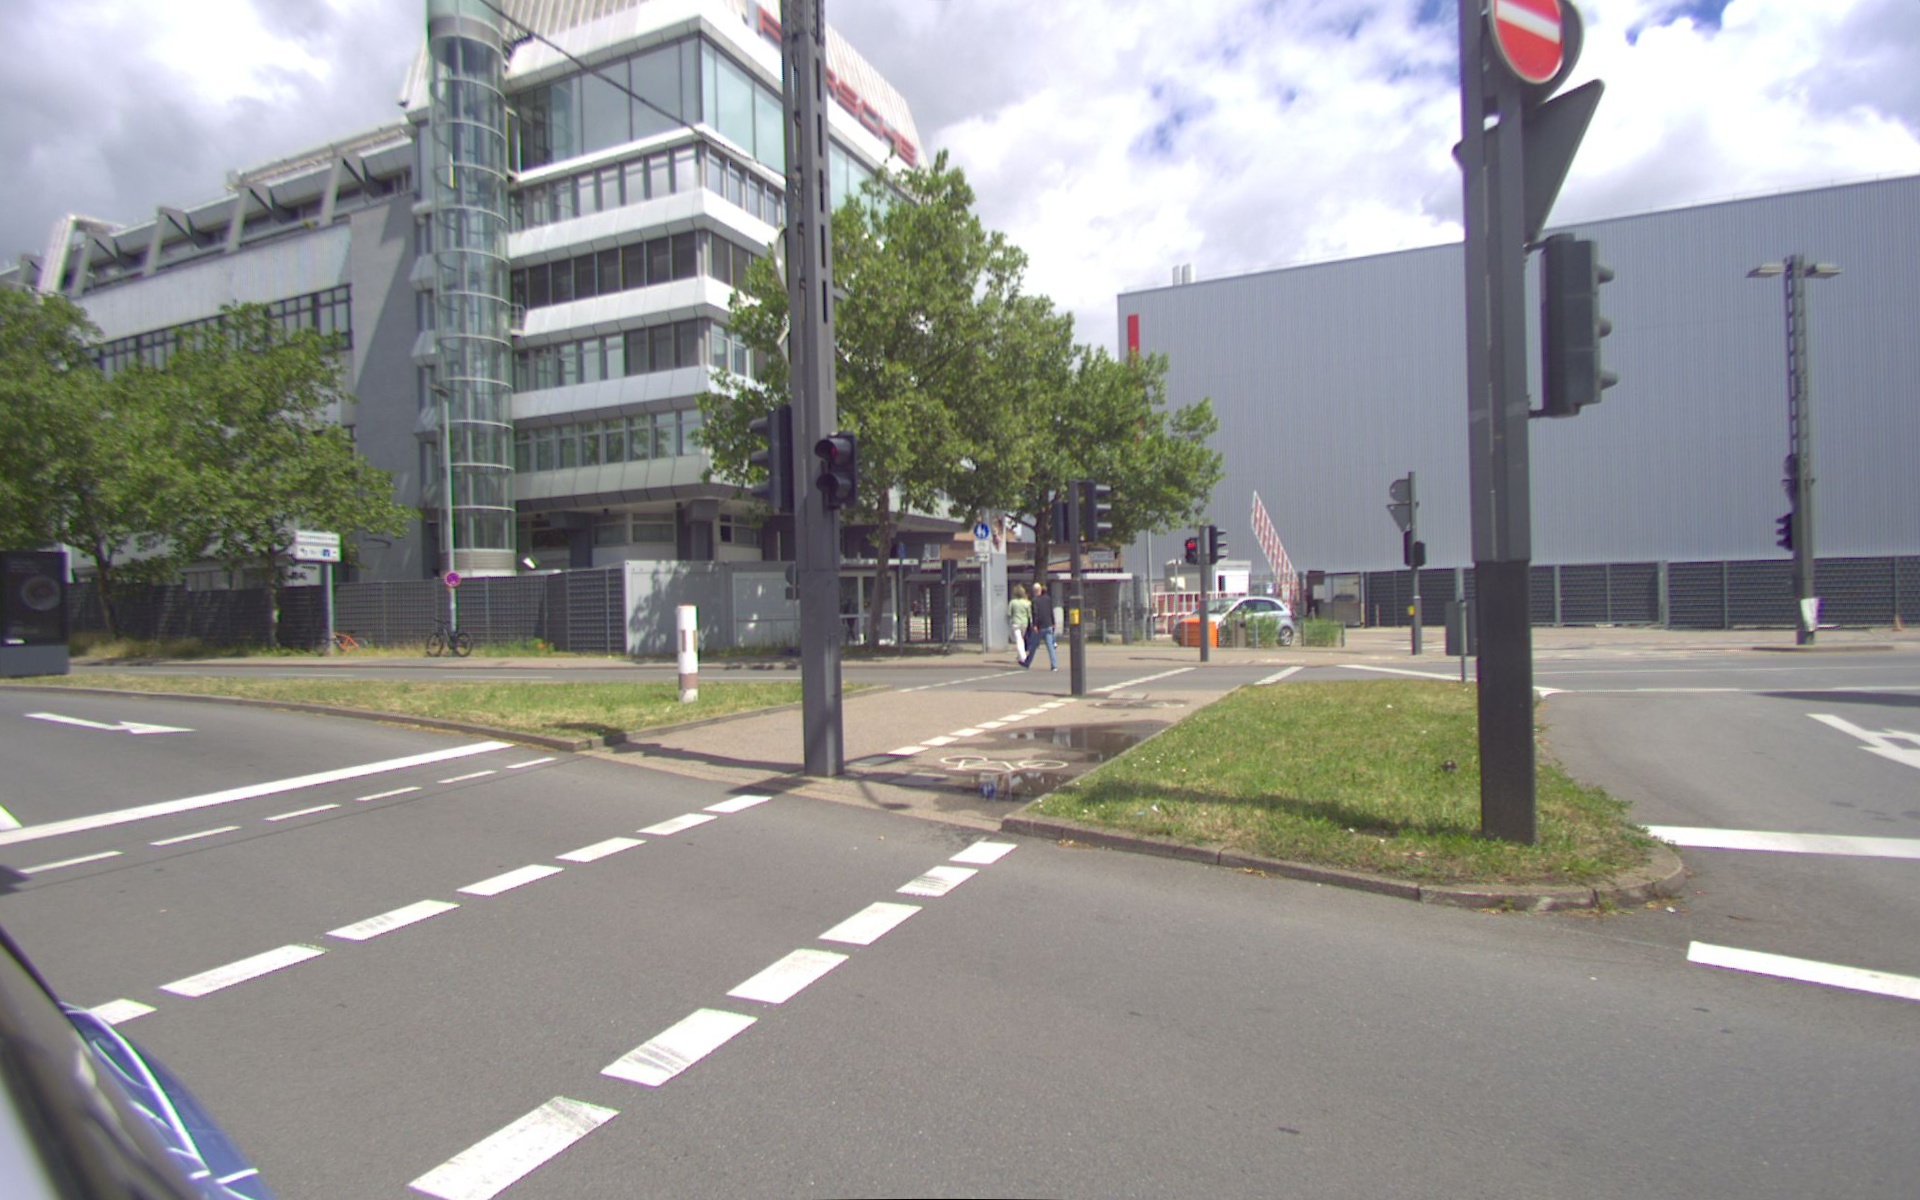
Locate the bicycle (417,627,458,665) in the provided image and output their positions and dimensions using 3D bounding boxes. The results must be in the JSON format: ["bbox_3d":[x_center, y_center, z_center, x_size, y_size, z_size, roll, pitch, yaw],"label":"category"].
[{"bbox_3d":[-15.898,1.390,30.800,1.477,1.140,0.294,0,1,28],"label":"bicycle"}]

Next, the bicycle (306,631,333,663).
[{"bbox_3d":[-21.493,1.560,33.956,1.249,1.013,0.294,0,1,35],"label":"bicycle"}]

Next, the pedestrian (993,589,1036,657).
[{"bbox_3d":[1.463,0.599,26.989,1.024,1.787,0.863,-1,1,11],"label":"pedestrian"}]

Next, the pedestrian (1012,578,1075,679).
[{"bbox_3d":[1.772,0.576,21.443,0.951,2.070,0.942,0,1,43],"label":"pedestrian"}]

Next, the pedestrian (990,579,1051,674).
[{"bbox_3d":[1.359,0.574,22.708,0.951,2.070,0.942,0,1,43],"label":"pedestrian"}]

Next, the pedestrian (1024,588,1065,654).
[{"bbox_3d":[2.355,0.578,28.145,1.024,1.787,0.863,-1,1,11],"label":"pedestrian"}]

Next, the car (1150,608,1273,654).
[{"bbox_3d":[7.947,0.958,31.857,3.936,1.370,1.724,0,-2,-39],"label":"car"}]
